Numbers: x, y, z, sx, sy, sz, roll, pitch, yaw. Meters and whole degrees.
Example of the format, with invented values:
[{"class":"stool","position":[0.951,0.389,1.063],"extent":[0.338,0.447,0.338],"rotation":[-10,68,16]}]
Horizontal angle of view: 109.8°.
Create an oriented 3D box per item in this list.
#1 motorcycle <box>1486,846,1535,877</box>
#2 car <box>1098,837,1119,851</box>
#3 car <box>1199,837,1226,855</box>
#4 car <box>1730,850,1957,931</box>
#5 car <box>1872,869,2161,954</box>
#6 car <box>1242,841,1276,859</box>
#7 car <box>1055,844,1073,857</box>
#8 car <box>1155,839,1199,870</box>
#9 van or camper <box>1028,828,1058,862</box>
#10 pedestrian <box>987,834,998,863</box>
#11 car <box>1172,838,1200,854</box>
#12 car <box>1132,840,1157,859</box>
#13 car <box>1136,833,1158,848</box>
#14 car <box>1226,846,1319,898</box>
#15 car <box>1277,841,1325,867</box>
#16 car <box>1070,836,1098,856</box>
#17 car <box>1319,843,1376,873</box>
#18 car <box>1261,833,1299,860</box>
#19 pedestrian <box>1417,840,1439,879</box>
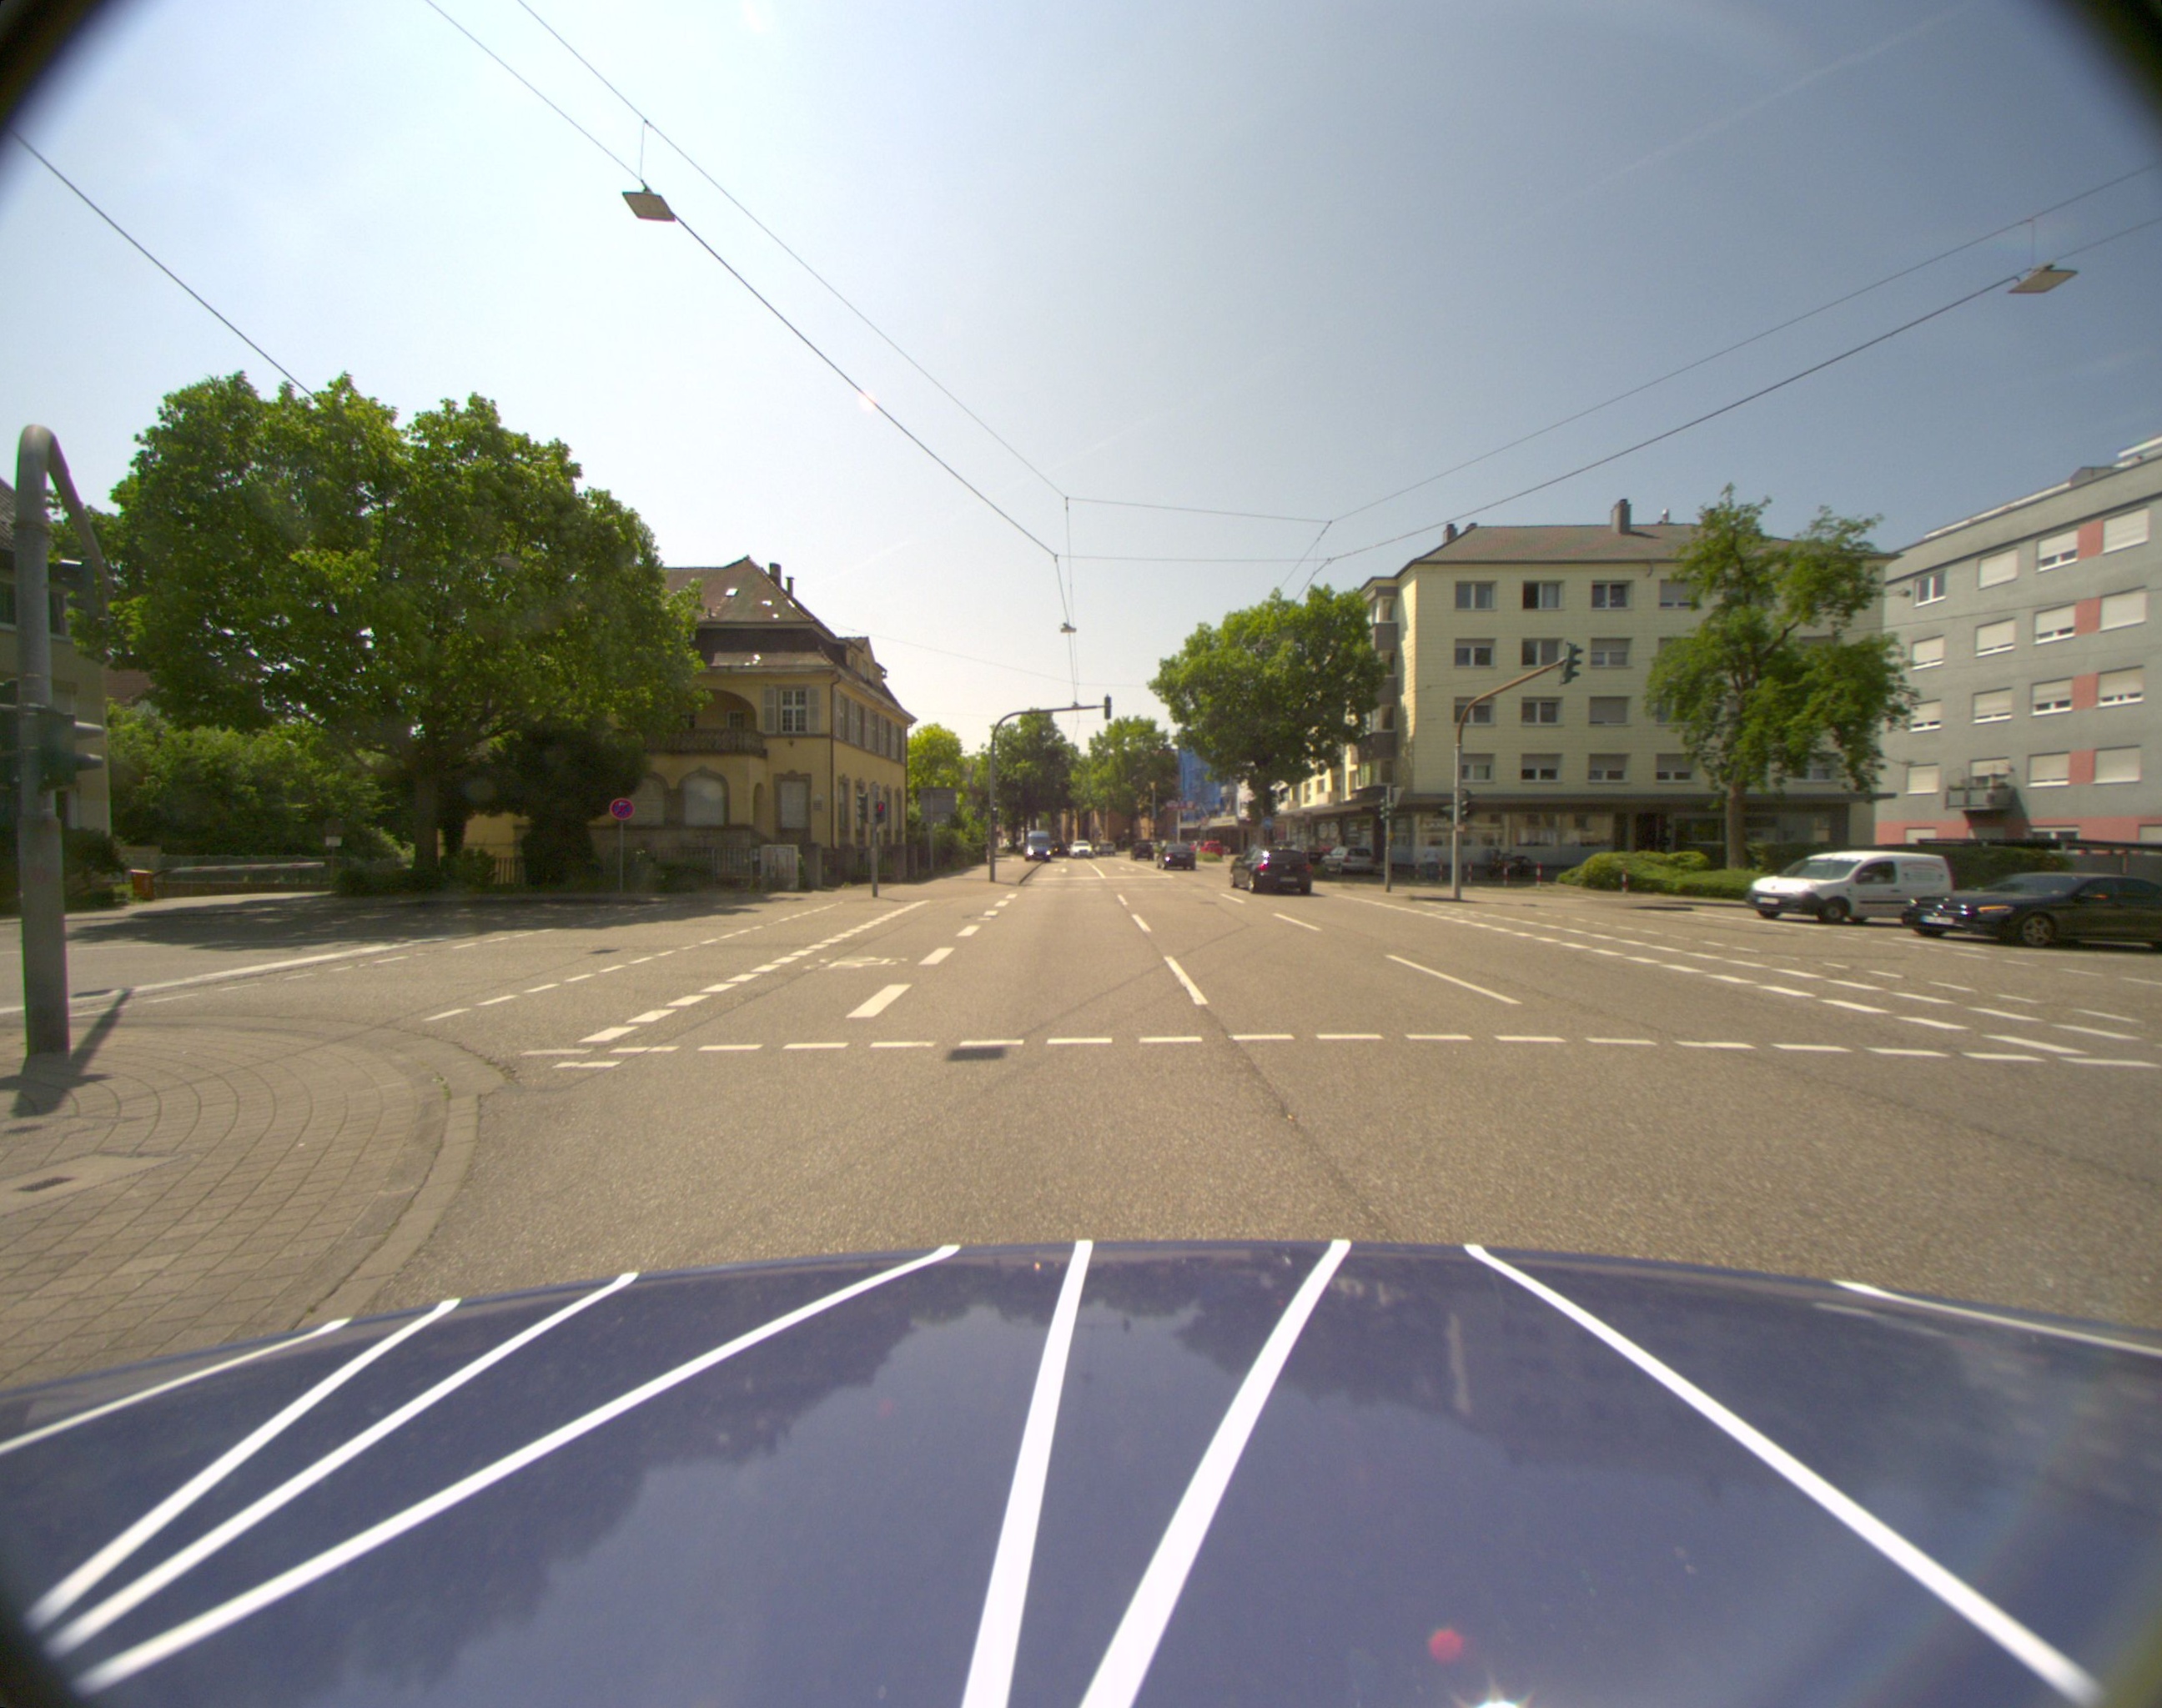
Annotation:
[{"class":"motorcycle","position":[20.887,0.354,36.957],"extent":[1.919,1.413,0.714],"rotation":[-1,4,0]},{"class":"car","position":[3.056,-1.125,85.703],"extent":[1.821,1.510,4.627],"rotation":[1,2,-5]},{"class":"car","position":[11.366,-0.687,65.859],"extent":[1.639,1.460,3.633],"rotation":[0,2,0]},{"class":"car","position":[18.769,0.859,18.834],"extent":[3.695,1.725,1.893],"rotation":[2,2,-2]},{"class":"car","position":[19.386,1.139,15.400],"extent":[4.618,1.393,2.115],"rotation":[2,2,-4]},{"class":"car","position":[13.895,-0.310,59.345],"extent":[1.704,1.279,3.860],"rotation":[-1,2,-1]},{"class":"car","position":[-2.004,-0.390,87.919],"extent":[1.735,1.397,4.331],"rotation":[-2,2,-4]},{"class":"car","position":[5.251,-0.001,42.225],"extent":[1.760,1.552,4.315],"rotation":[-1,2,-2]},{"class":"van or camper","position":[-3.140,-0.791,61.532],"extent":[2.165,2.567,5.840],"rotation":[-1,2,-5]},{"class":"pedestrian","position":[-5.879,-0.371,50.537],"extent":[0.621,1.908,0.743],"rotation":[0,2,-1]},{"class":"car","position":[10.547,-0.807,76.584],"extent":[1.913,1.511,4.331],"rotation":[0,1,-3]},{"class":"car","position":[5.173,-0.382,62.319],"extent":[1.620,1.447,3.708],"rotation":[0,1,-2]},{"class":"car","position":[8.323,-1.689,96.106],"extent":[1.914,1.795,4.329],"rotation":[0,1,-9]},{"class":"car","position":[5.874,0.503,23.816],"extent":[1.841,1.391,4.048],"rotation":[1,1,0]},{"class":"car","position":[13.799,-0.046,47.955],"extent":[1.626,1.560,4.838],"rotation":[0,2,0]},{"class":"car","position":[0.231,-0.795,71.041],"extent":[2.000,1.740,4.441],"rotation":[-2,2,-8]},{"class":"car","position":[13.938,0.197,40.007],"extent":[1.586,1.450,3.938],"rotation":[0,2,0]},{"class":"car","position":[14.041,-0.532,53.827],"extent":[1.643,1.829,3.858],"rotation":[-1,1,-1]},{"class":"pedestrian","position":[15.606,0.261,34.199],"extent":[0.628,1.748,0.743],"rotation":[0,-3,-1]}]
